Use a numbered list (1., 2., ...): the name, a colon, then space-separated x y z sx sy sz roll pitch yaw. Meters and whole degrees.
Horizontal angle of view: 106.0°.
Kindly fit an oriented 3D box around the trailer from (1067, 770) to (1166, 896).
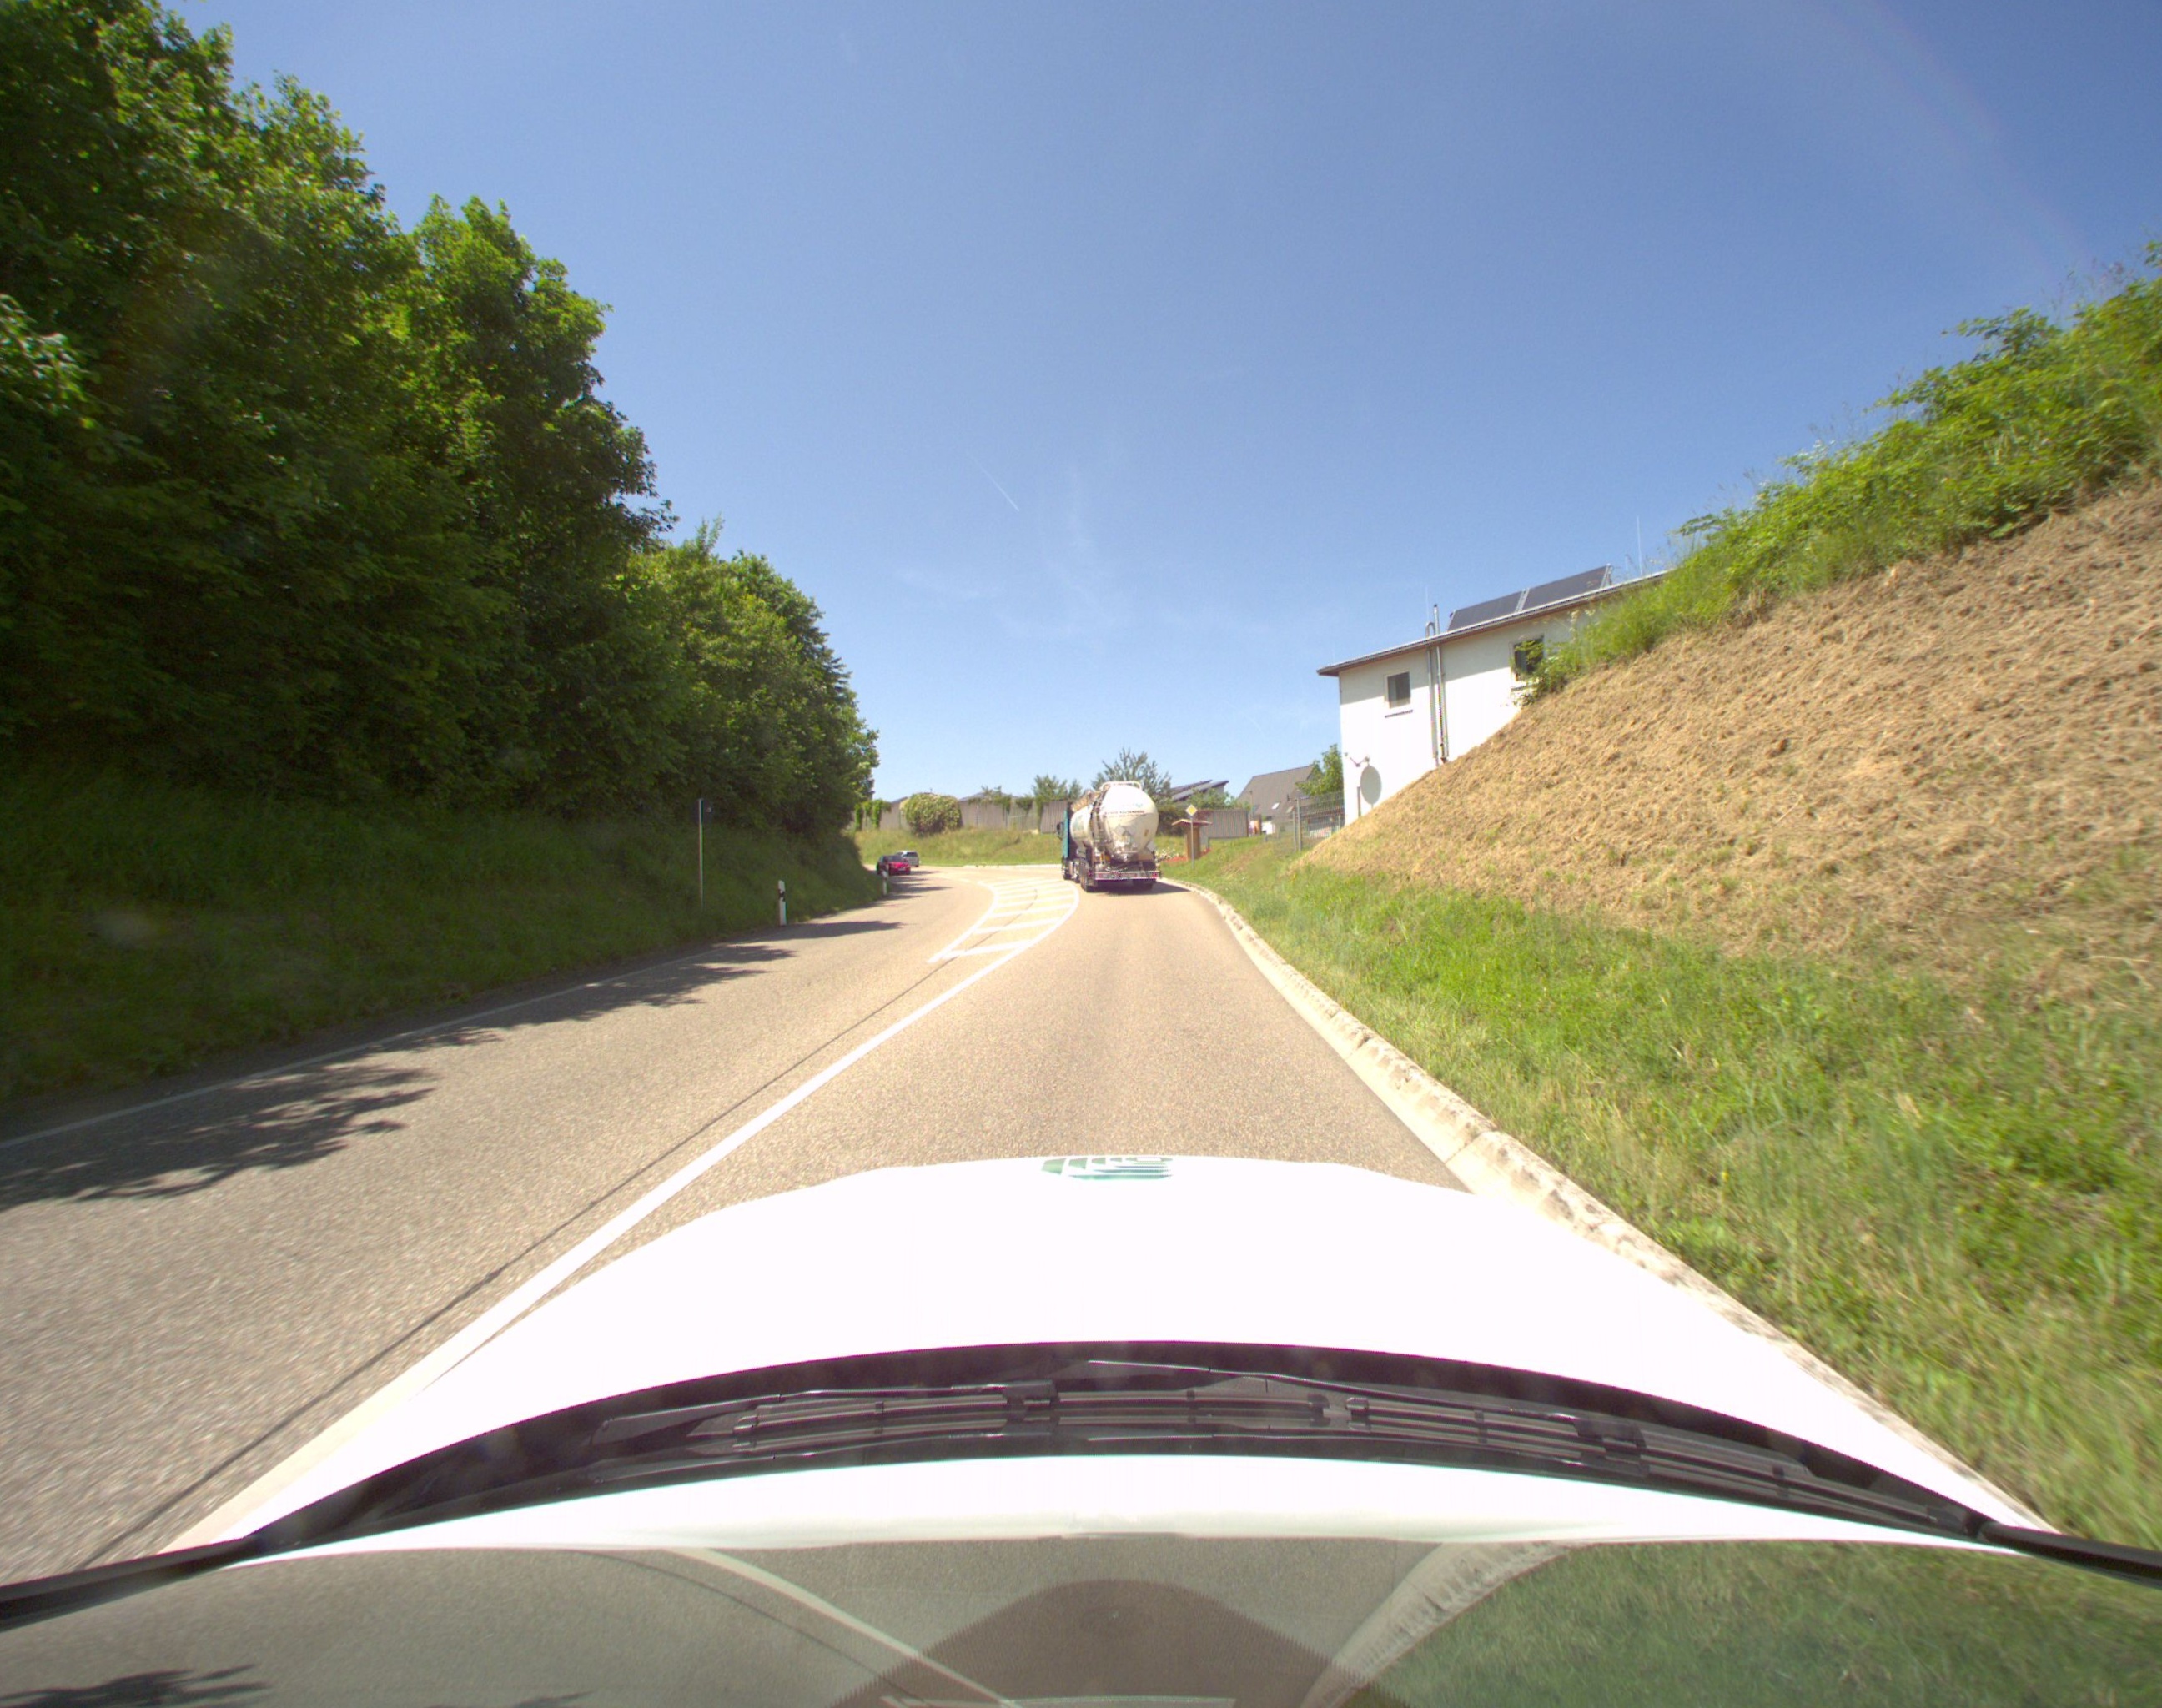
1. trailer: 1.121 -0.746 33.596 2.656 4.188 11.888 -2 0 -4

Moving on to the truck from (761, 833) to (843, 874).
1. truck: -31.343 -0.123 91.153 11.651 4.310 3.220 2 -1 42

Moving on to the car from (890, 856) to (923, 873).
1. car: -16.111 0.967 74.983 1.660 1.509 3.599 3 -2 -35

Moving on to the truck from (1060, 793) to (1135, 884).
1. truck: 0.651 -0.644 39.828 2.723 3.929 7.250 -3 0 -5

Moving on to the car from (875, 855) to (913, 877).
1. car: -13.516 0.829 58.648 1.759 1.448 3.966 -2 0 -26
